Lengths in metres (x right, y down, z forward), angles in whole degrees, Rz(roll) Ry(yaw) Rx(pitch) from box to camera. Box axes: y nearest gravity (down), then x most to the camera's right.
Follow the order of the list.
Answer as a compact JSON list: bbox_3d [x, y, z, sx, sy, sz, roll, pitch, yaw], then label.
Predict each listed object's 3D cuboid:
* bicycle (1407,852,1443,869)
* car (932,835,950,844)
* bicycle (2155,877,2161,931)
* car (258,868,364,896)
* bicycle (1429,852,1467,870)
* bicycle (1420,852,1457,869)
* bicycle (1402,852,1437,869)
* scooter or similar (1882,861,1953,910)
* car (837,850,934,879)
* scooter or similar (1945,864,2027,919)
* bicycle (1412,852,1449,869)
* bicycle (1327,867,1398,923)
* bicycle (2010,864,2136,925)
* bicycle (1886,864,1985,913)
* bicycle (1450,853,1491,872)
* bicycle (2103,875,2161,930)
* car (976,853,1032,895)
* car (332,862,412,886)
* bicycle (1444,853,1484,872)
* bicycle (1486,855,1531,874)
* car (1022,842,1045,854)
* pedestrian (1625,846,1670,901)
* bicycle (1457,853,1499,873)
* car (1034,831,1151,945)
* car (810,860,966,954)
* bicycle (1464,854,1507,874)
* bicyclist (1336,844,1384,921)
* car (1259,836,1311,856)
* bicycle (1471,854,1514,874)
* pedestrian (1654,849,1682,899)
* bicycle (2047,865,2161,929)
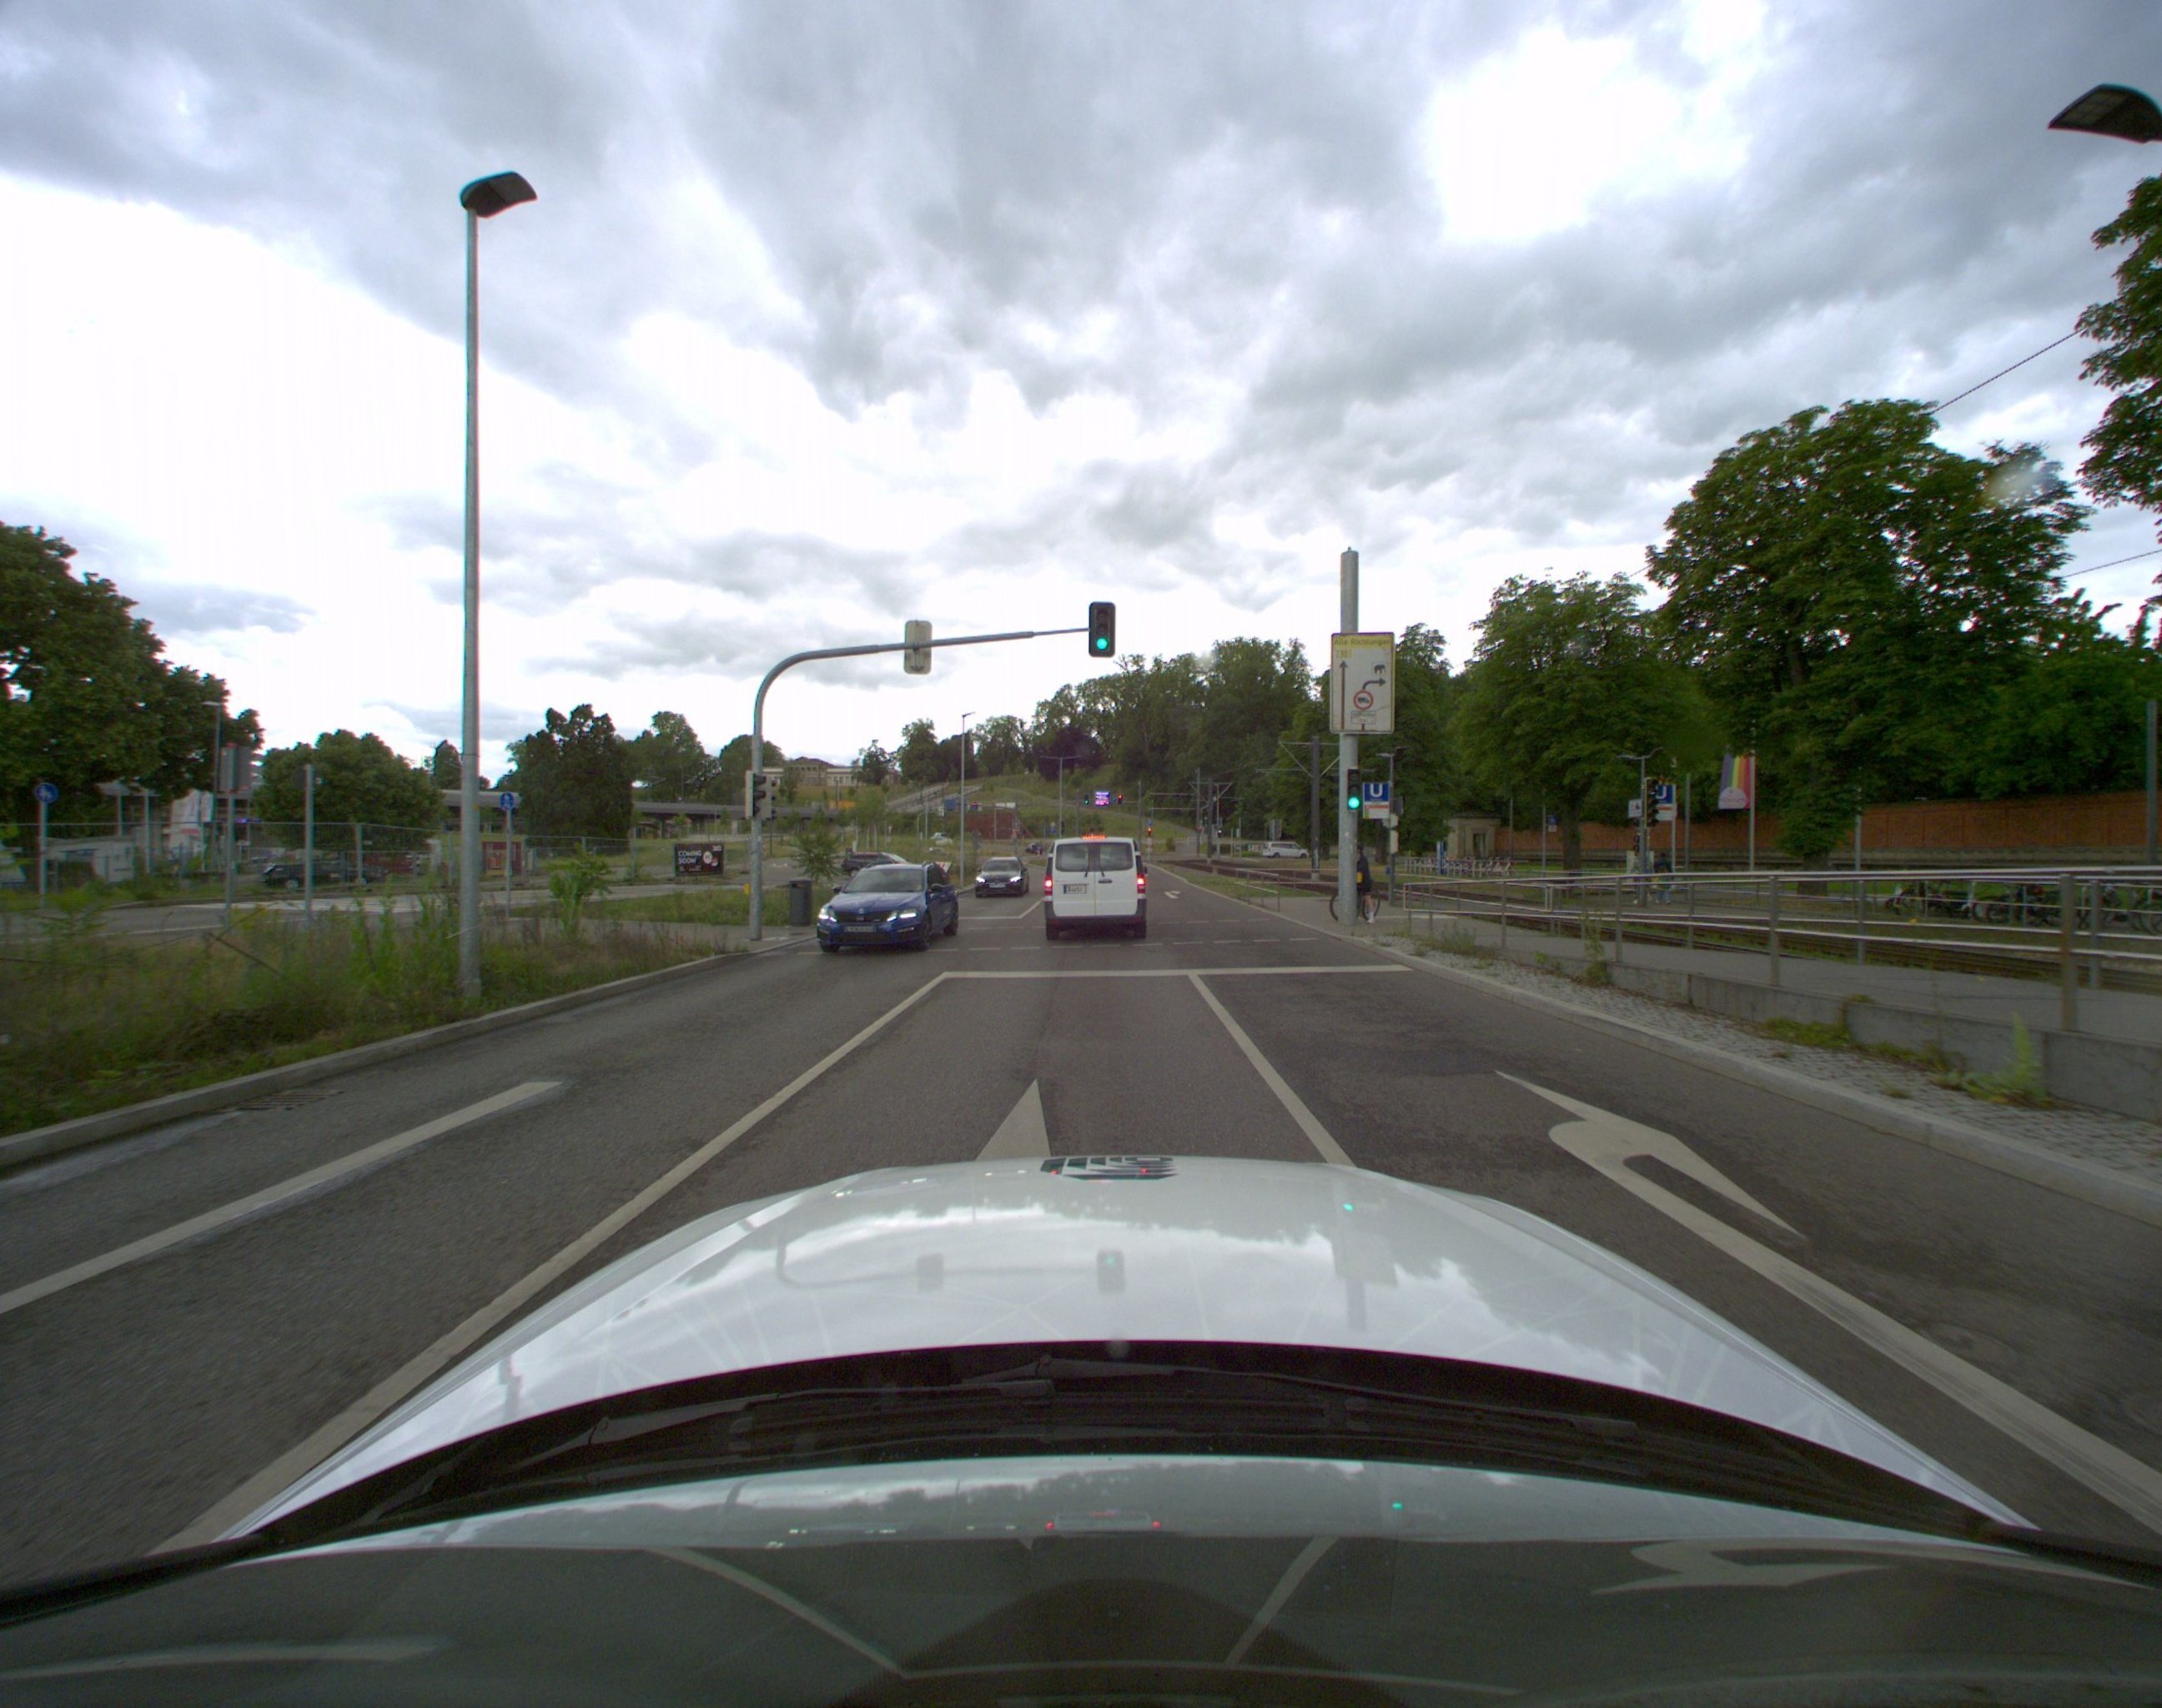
[{"bbox_3d":[20.492,0.395,48.525,1.905,0.975,0.531,0,0,1],"label":"bicycle"},{"bbox_3d":[-25.743,-2.660,149.260,1.950,1.627,3.961,1,1,-31],"label":"car"},{"bbox_3d":[19.985,0.923,14.157,1.866,0.963,0.533,3,0,1],"label":"bicycle"},{"bbox_3d":[-41.873,1.495,44.355,1.781,1.291,3.946,0,1,38],"label":"car"},{"bbox_3d":[20.710,0.387,45.998,1.905,0.975,0.531,0,0,1],"label":"bicycle"},{"bbox_3d":[20.540,0.388,46.815,1.905,0.975,0.531,0,0,1],"label":"bicycle"},{"bbox_3d":[20.561,0.396,49.450,1.905,0.975,0.531,0,0,1],"label":"bicycle"},{"bbox_3d":[20.632,0.777,20.100,1.152,1.139,0.335,2,0,25],"label":"scooter or similar"},{"bbox_3d":[-10.603,0.544,44.298,4.679,1.477,2.007,0,1,11],"label":"car"},{"bbox_3d":[20.010,0.828,18.025,1.267,1.139,0.334,3,0,8],"label":"scooter or similar"},{"bbox_3d":[20.389,0.392,47.545,1.905,0.975,0.531,0,0,1],"label":"bicycle"},{"bbox_3d":[6.003,0.839,17.321,1.692,1.074,0.613,-1,2,-38],"label":"bicycle"},{"bbox_3d":[20.283,0.820,16.671,1.866,1.139,0.533,3,0,1],"label":"bicycle"},{"bbox_3d":[19.942,0.800,19.028,1.757,1.033,0.484,3,0,1],"label":"bicycle"},{"bbox_3d":[20.554,0.466,42.980,1.905,0.975,0.531,0,0,1],"label":"bicycle"},{"bbox_3d":[19.983,0.911,14.883,1.866,0.963,0.533,3,0,1],"label":"bicycle"},{"bbox_3d":[-3.016,0.752,32.528,1.724,1.529,4.445,-1,0,1],"label":"car"},{"bbox_3d":[-43.480,1.209,49.996,1.582,1.291,3.530,0,1,40],"label":"car"},{"bbox_3d":[20.560,0.453,43.762,1.905,0.975,0.531,0,0,1],"label":"bicycle"},{"bbox_3d":[20.769,0.490,39.534,1.905,0.895,0.531,0,0,1],"label":"bicycle"},{"bbox_3d":[-6.709,-0.893,113.834,1.946,1.627,3.969,1,1,-24],"label":"car"},{"bbox_3d":[16.932,0.570,24.337,0.835,1.609,0.773,-1,0,-21],"label":"pedestrian"},{"bbox_3d":[20.568,0.464,42.239,1.905,0.975,0.531,0,0,1],"label":"bicycle"},{"bbox_3d":[0.377,0.575,16.335,1.950,1.903,4.467,-2,0,4],"label":"car"},{"bbox_3d":[-3.344,0.853,14.994,1.724,1.421,4.445,-1,0,1],"label":"car"},{"bbox_3d":[20.509,0.515,41.299,1.905,0.975,0.531,0,0,1],"label":"bicycle"},{"bbox_3d":[5.911,0.571,17.244,0.810,1.572,0.611,-1,2,-38],"label":"bicyclist"},{"bbox_3d":[22.806,-0.895,91.025,5.131,2.013,2.202,1,0,-8],"label":"car"},{"bbox_3d":[20.542,0.518,40.652,1.905,0.975,0.531,0,0,1],"label":"bicycle"},{"bbox_3d":[17.946,0.590,24.903,0.498,1.502,0.513,-1,0,-21],"label":"pedestrian"},{"bbox_3d":[19.938,0.829,15.720,1.866,1.139,0.533,3,0,1],"label":"bicycle"}]
